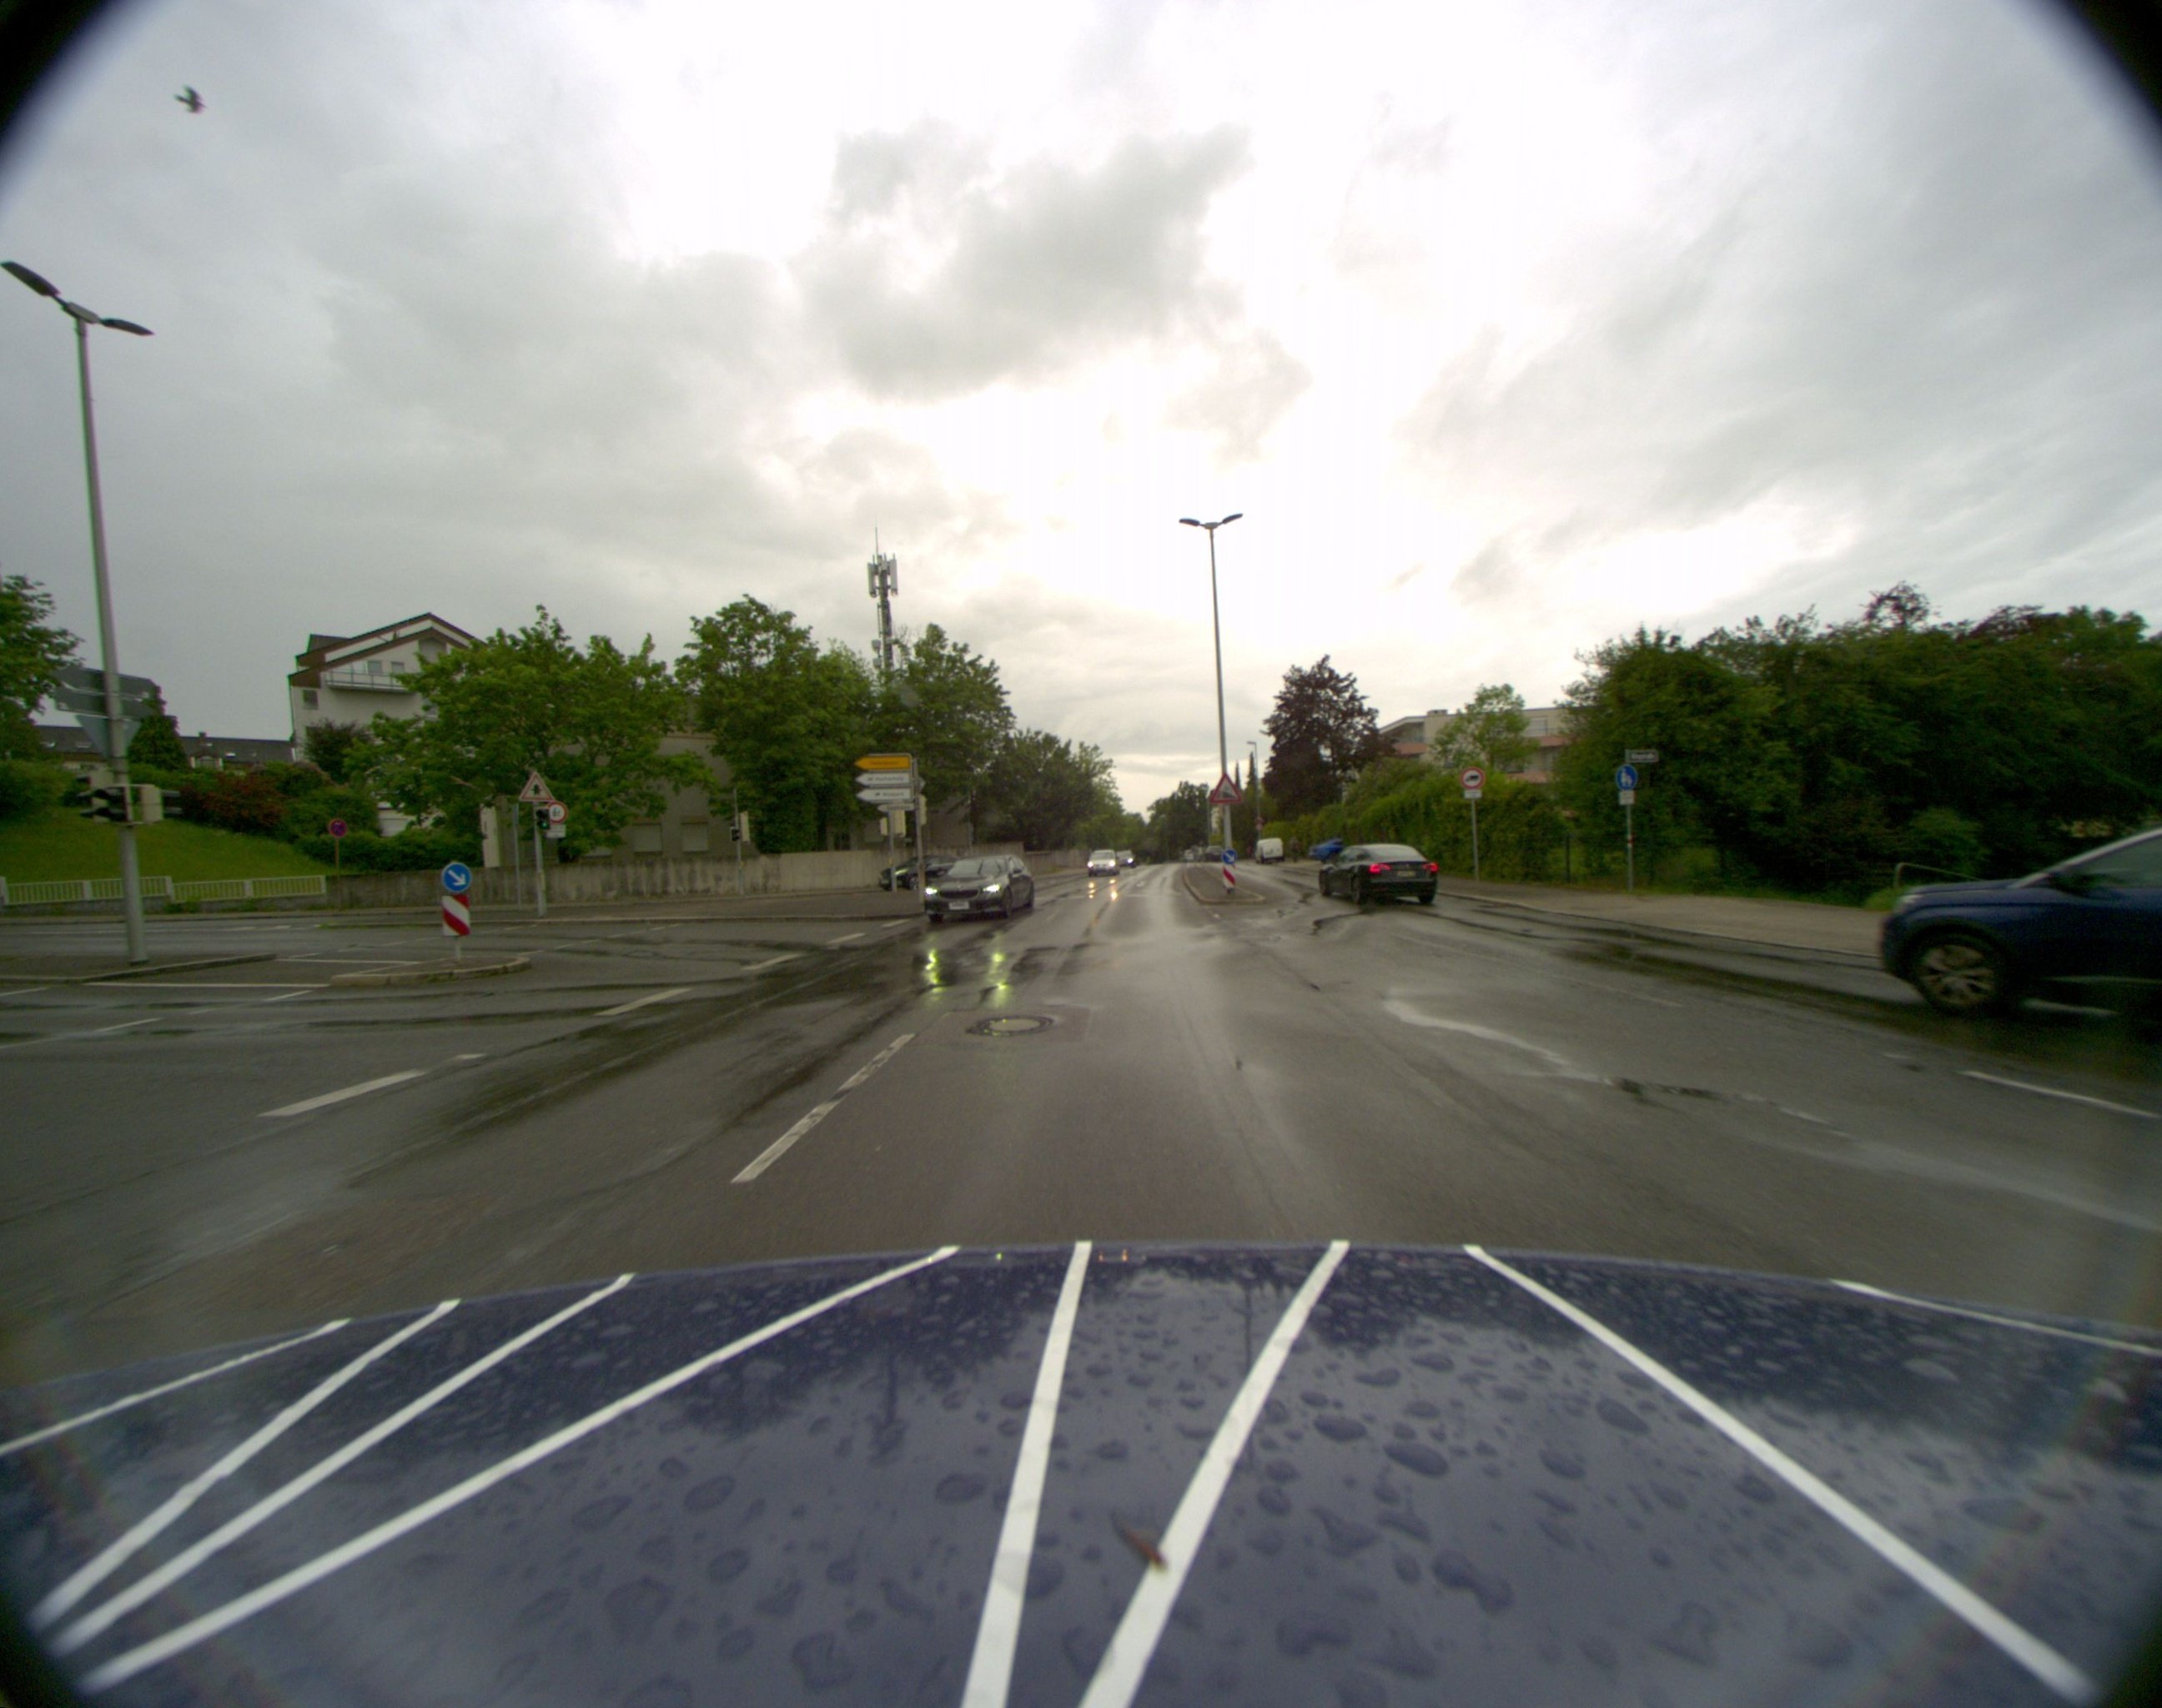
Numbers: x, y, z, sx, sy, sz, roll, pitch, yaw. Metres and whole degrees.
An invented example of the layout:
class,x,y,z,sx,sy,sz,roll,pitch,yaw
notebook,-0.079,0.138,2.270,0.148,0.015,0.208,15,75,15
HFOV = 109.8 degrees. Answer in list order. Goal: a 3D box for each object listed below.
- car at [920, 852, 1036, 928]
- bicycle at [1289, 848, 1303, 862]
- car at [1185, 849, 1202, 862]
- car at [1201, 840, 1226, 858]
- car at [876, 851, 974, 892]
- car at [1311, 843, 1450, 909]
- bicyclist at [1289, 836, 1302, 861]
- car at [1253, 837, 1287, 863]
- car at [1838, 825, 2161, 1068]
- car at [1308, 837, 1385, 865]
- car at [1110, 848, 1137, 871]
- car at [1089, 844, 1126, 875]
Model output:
class,x,y,z,sx,sy,sz,roll,pitch,yaw
car,-2.395,0.782,18.672,1.871,1.510,4.001,-2,2,6
bicycle,14.270,0.086,50.509,0.743,0.846,1.973,-2,1,13
car,13.983,0.220,94.273,1.820,1.448,4.000,-2,2,5
car,11.941,-0.489,68.744,1.820,1.448,4.000,-2,2,5
car,-6.913,0.729,33.968,1.689,1.543,4.007,-1,2,42
car,7.540,0.479,19.640,1.869,1.468,4.445,-1,1,0
bicyclist,14.234,-0.356,50.385,0.743,1.637,0.778,-2,1,13
car,13.741,-0.329,55.456,1.820,1.707,4.000,-2,2,5
car,7.798,0.581,4.614,1.869,1.545,4.444,-1,1,-2
car,15.470,-0.211,44.367,3.887,1.448,1.768,-2,2,3
car,3.539,0.432,62.144,1.998,1.647,4.227,-2,2,5
car,1.642,0.300,46.469,1.998,1.647,4.000,-2,2,5
